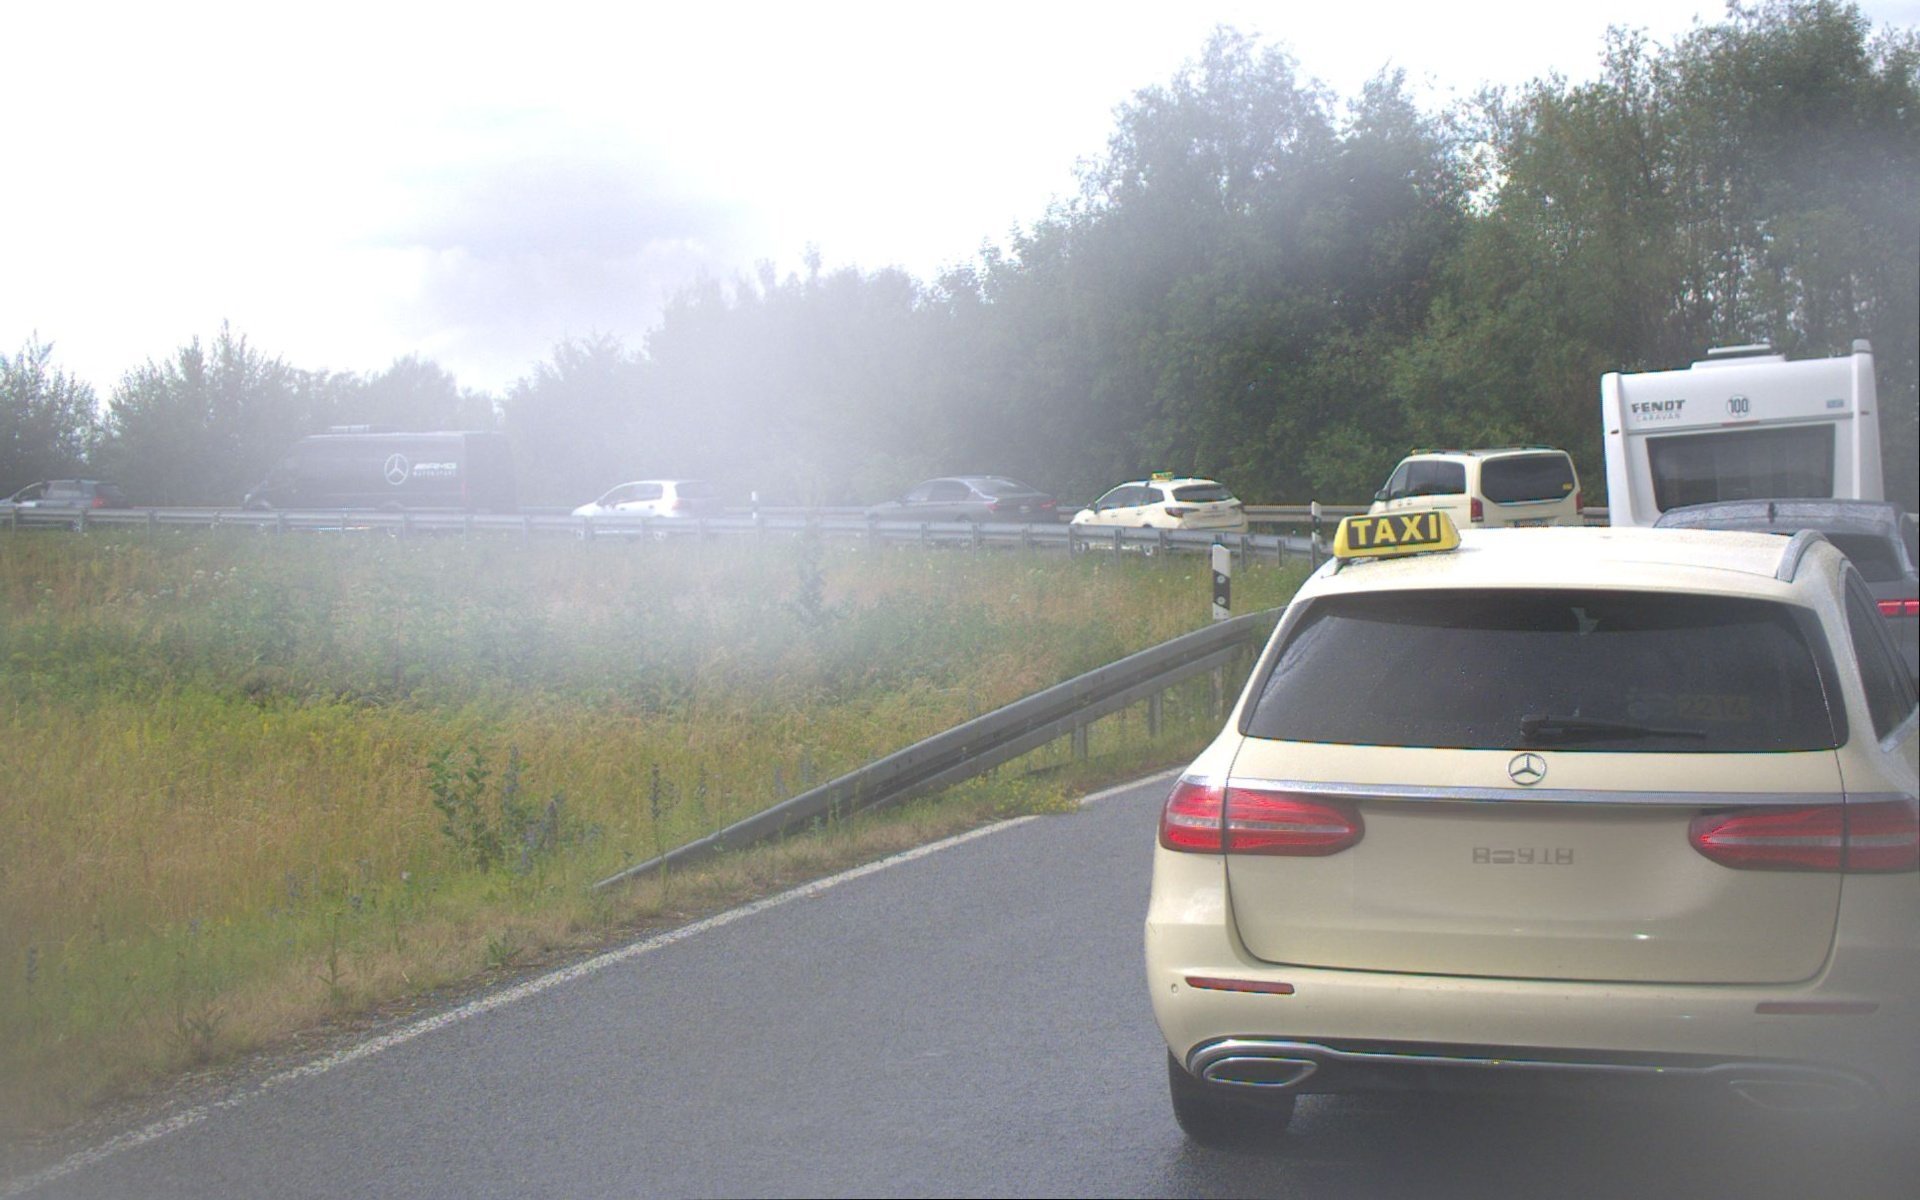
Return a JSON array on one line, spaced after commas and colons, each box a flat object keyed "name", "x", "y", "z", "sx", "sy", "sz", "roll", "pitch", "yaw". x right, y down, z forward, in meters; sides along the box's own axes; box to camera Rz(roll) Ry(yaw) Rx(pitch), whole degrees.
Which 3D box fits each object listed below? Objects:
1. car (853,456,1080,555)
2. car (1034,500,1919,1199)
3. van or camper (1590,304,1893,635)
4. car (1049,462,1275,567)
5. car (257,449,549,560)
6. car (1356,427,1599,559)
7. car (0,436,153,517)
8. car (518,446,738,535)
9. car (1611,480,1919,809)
[{"name": "car", "x": 0.084, "y": -1.961, "z": 72.116, "sx": 1.994, "sy": 1.855, "sz": 5.055, "roll": -2, "pitch": 0, "yaw": -38}, {"name": "car", "x": 1.715, "y": 0.501, "z": 9.055, "sx": 1.917, "sy": 1.502, "sz": 4.593, "roll": 0, "pitch": 2, "yaw": 16}, {"name": "van or camper", "x": 7.206, "y": -1.126, "z": 31.411, "sx": 2.432, "sy": 2.720, "sz": 5.997, "roll": 0, "pitch": 1, "yaw": 14}, {"name": "car", "x": 3.719, "y": -1.597, "z": 64.430, "sx": 1.993, "sy": 1.855, "sz": 5.058, "roll": -2, "pitch": 2, "yaw": -26}, {"name": "car", "x": -13.773, "y": -2.322, "z": 84.795, "sx": 6.974, "sy": 2.586, "sz": 2.870, "roll": 0, "pitch": 2, "yaw": 34}, {"name": "car", "x": 8.039, "y": -1.634, "z": 53.928, "sx": 1.993, "sy": 1.855, "sz": 5.059, "roll": -2, "pitch": 0, "yaw": -13}, {"name": "car", "x": -23.472, "y": -3.153, "z": 88.398, "sx": 5.046, "sy": 1.855, "sz": 1.998, "roll": -2, "pitch": 0, "yaw": 22}, {"name": "car", "x": -7.775, "y": -2.526, "z": 80.327, "sx": 5.051, "sy": 1.855, "sz": 1.996, "roll": -2, "pitch": 0, "yaw": 37}, {"name": "car", "x": 4.497, "y": 0.196, "z": 17.942, "sx": 1.719, "sy": 1.520, "sz": 3.997, "roll": 0, "pitch": 0, "yaw": 17}]
